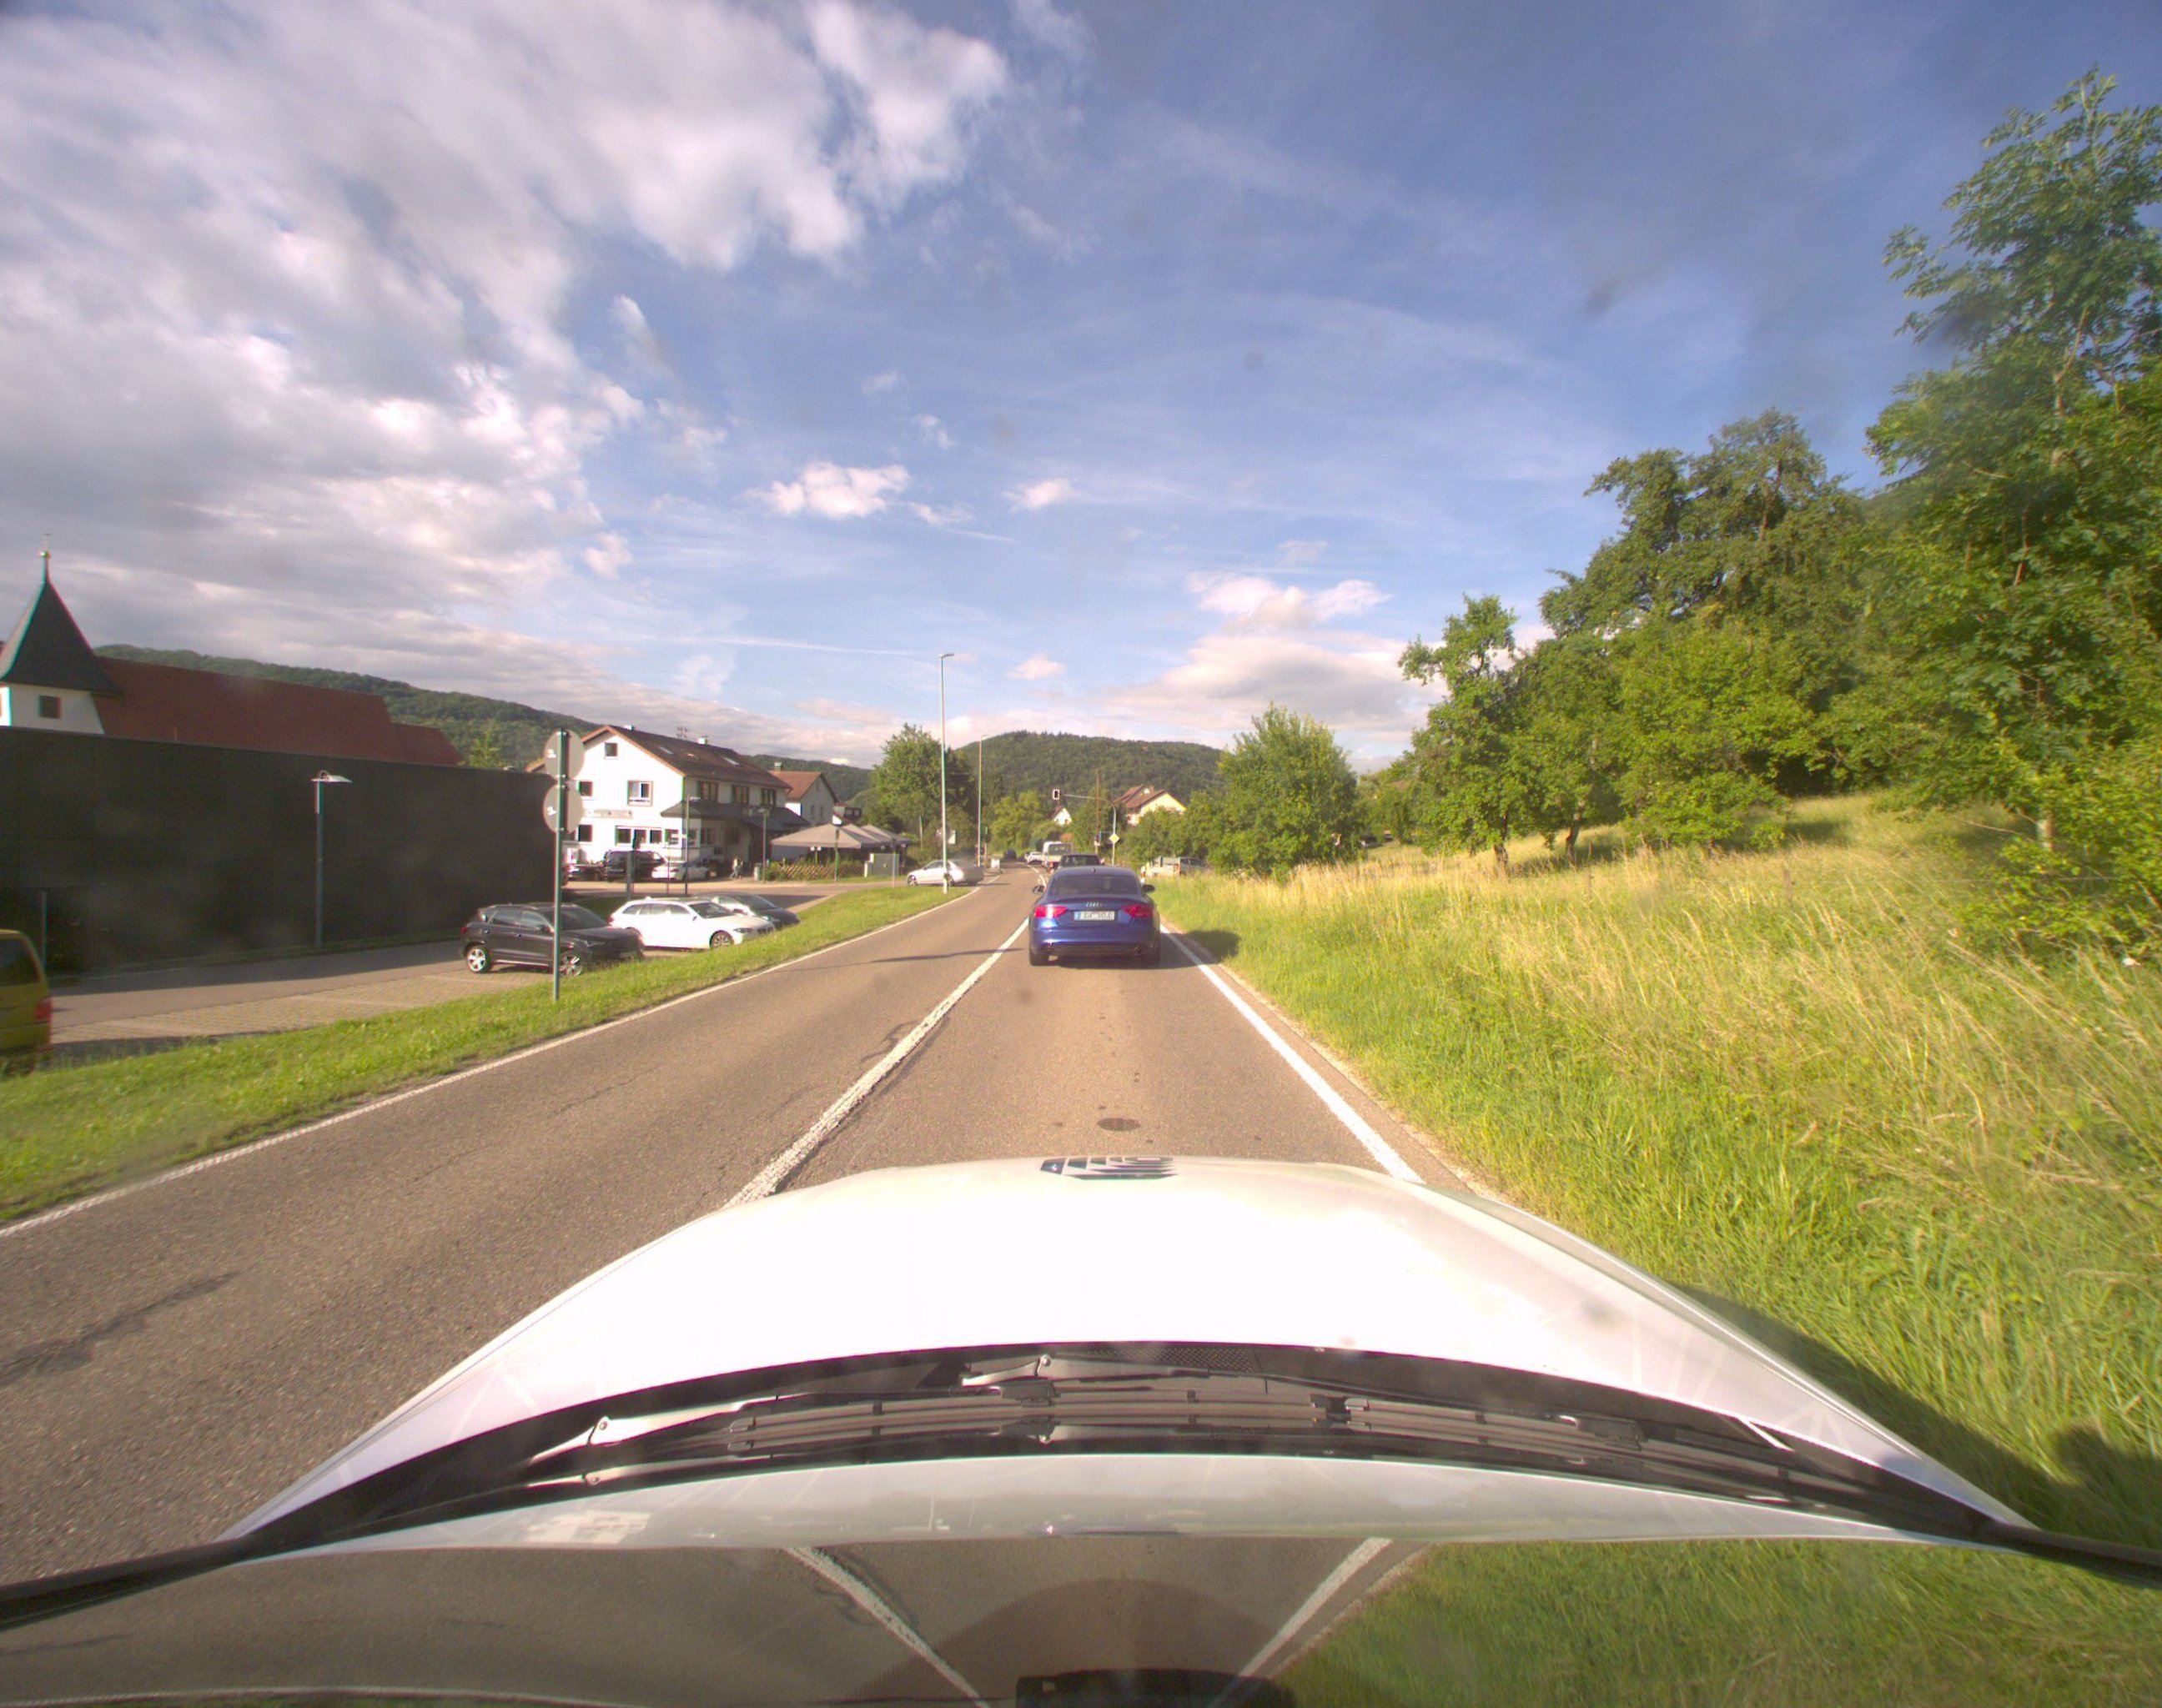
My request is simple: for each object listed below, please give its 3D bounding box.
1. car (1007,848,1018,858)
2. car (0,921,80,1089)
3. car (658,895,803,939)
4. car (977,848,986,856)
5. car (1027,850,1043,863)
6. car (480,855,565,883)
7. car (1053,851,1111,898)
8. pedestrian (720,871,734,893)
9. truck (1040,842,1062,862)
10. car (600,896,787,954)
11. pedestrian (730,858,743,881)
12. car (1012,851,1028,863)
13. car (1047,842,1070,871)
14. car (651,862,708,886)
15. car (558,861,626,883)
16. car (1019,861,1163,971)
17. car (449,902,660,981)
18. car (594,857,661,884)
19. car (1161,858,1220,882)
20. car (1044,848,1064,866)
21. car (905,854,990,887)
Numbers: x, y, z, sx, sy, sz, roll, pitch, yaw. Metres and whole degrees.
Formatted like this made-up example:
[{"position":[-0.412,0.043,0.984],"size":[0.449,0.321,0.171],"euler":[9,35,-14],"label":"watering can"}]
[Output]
[{"position":[-10.781,-0.157,127.691],"size":[1.695,1.490,3.520],"euler":[0,-1,-5],"label":"car"},{"position":[-14.801,1.791,9.699],"size":[4.574,1.868,2.009],"euler":[0,-1,17],"label":"car"},{"position":[-11.345,2.016,26.499],"size":[3.963,1.310,1.765],"euler":[0,-1,9],"label":"car"},{"position":[-19.452,-0.333,159.572],"size":[1.625,1.576,3.669],"euler":[0,-1,-8],"label":"car"},{"position":[-5.623,0.310,98.487],"size":[1.696,1.490,3.518],"euler":[0,-1,-7],"label":"car"},{"position":[-30.212,0.806,44.072],"size":[3.952,1.442,1.930],"euler":[0,-1,22],"label":"car"},{"position":[0.100,0.745,30.689],"size":[1.737,1.639,4.007],"euler":[0,-1,6],"label":"car"},{"position":[-24.003,1.900,55.223],"size":[0.606,1.503,0.590],"euler":[0,-1,2],"label":"pedestrian"},{"position":[-3.031,-0.136,82.047],"size":[1.696,1.953,5.907],"euler":[0,-1,-7],"label":"truck"},{"position":[-11.301,2.034,23.854],"size":[4.780,1.493,1.888],"euler":[0,-1,13],"label":"car"},{"position":[-23.051,1.029,54.494],"size":[0.606,1.503,0.590],"euler":[0,-1,2],"label":"pedestrian"},{"position":[-8.152,0.433,108.167],"size":[1.698,1.490,3.513],"euler":[0,-1,-11],"label":"car"},{"position":[-1.788,0.210,64.602],"size":[1.742,2.195,3.996],"euler":[0,-1,-2],"label":"car"},{"position":[-25.518,1.250,51.874],"size":[1.550,1.450,4.001],"euler":[0,-1,2],"label":"car"},{"position":[-30.864,1.136,51.534],"size":[1.835,1.354,4.000],"euler":[0,-1,1],"label":"car"},{"position":[0.322,0.824,12.423],"size":[1.786,1.388,4.007],"euler":[-1,-1,6],"label":"car"},{"position":[-12.560,2.030,19.543],"size":[3.996,1.637,2.007],"euler":[0,-1,13],"label":"car"},{"position":[-28.536,1.024,51.402],"size":[1.880,1.662,4.001],"euler":[0,-1,2],"label":"car"},{"position":[7.081,1.029,52.607],"size":[3.748,1.478,1.612],"euler":[1,-1,-37],"label":"car"},{"position":[-2.536,0.328,76.411],"size":[1.742,1.639,3.996],"euler":[0,-1,-2],"label":"car"},{"position":[-7.041,0.867,42.743],"size":[4.405,1.639,1.822],"euler":[-1,-1,36],"label":"car"}]
